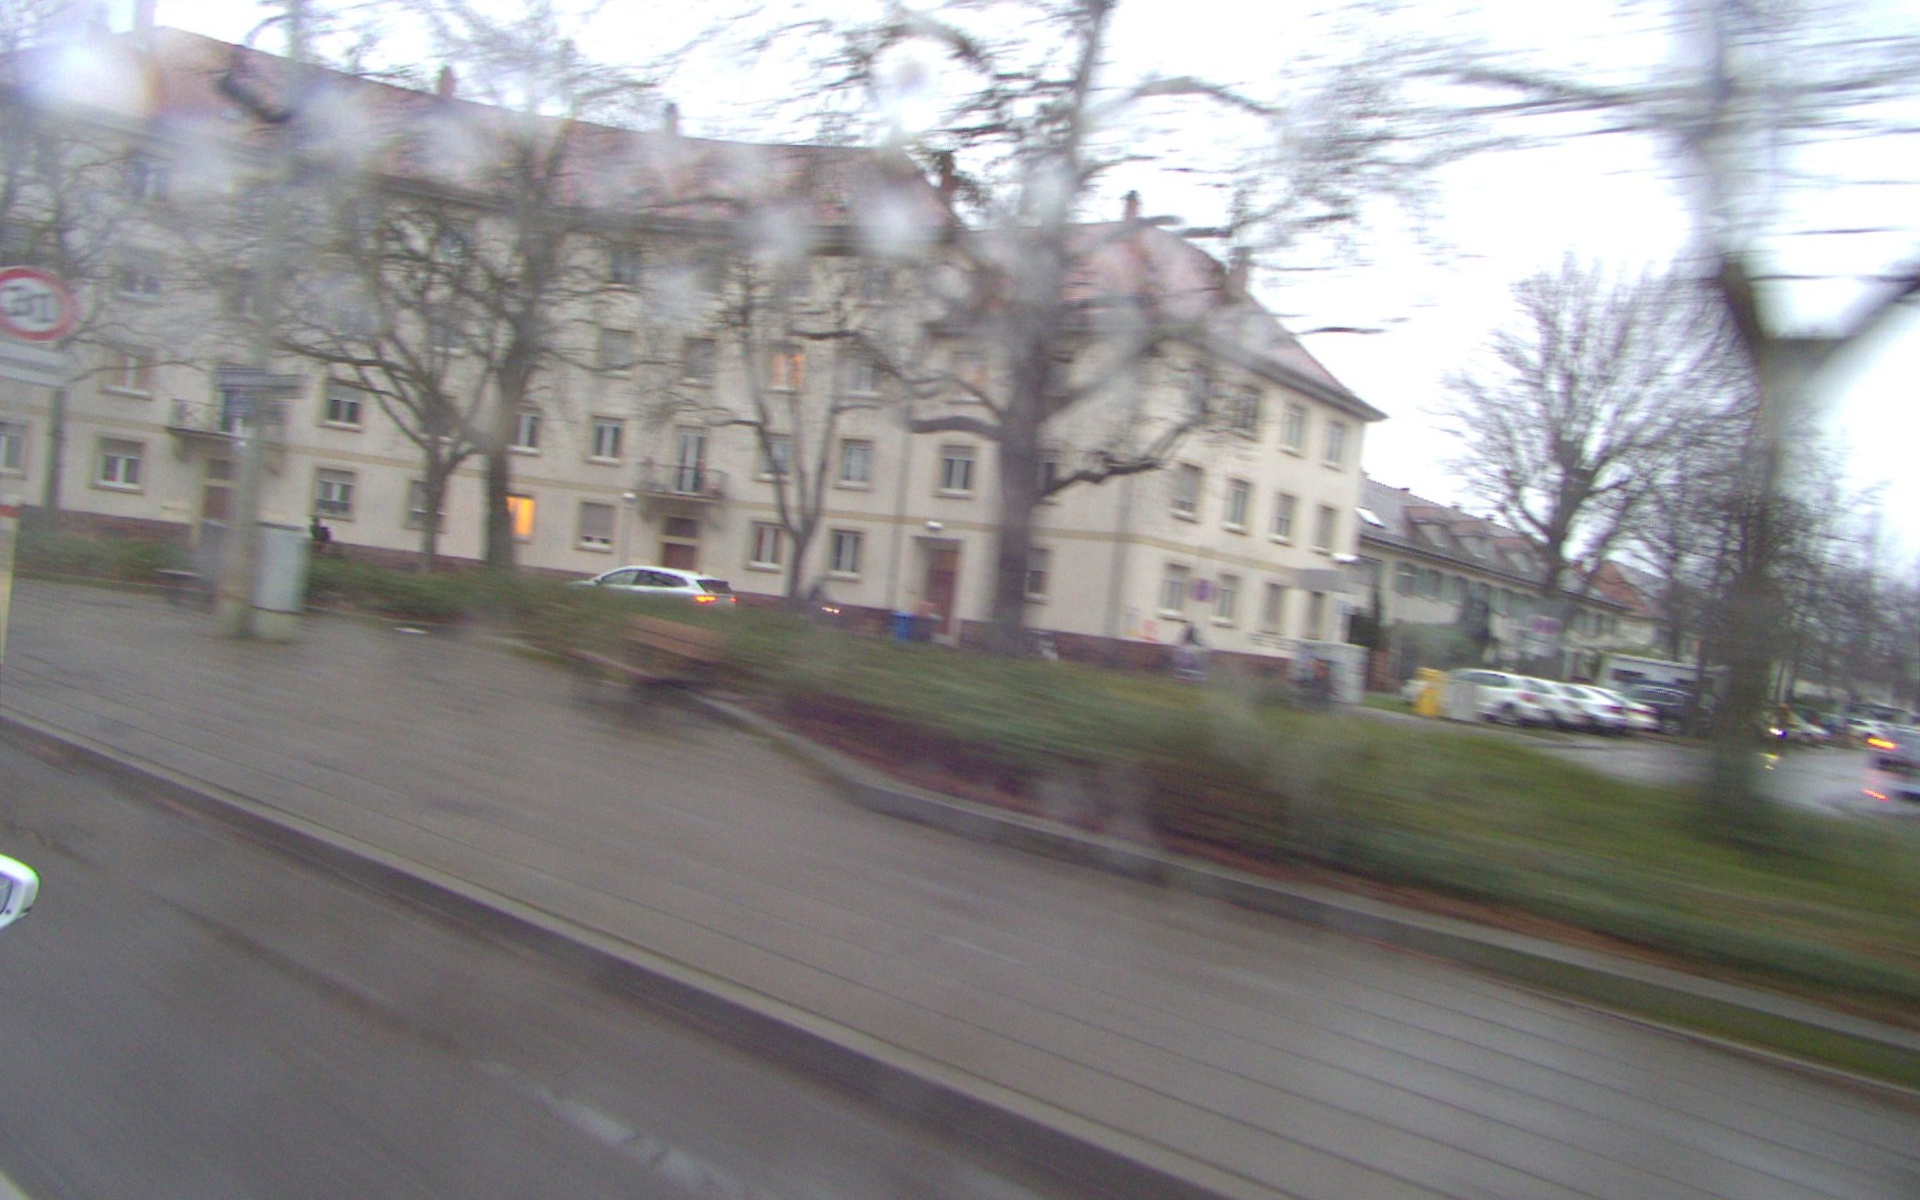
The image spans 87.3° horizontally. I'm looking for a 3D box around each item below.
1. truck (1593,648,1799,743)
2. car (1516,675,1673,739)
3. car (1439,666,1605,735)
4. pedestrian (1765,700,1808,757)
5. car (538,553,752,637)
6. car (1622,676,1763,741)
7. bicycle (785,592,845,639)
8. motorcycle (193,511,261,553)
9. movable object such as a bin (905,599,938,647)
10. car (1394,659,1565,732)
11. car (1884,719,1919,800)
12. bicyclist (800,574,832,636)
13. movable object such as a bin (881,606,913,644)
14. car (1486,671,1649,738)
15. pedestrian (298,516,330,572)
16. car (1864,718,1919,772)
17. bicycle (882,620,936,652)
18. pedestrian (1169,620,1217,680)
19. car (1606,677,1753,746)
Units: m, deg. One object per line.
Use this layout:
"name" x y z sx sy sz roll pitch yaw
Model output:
"truck" 32.110 4.105 44.134 2.614 3.131 6.654 6 1 -42
"car" 21.288 3.567 33.895 1.832 1.494 3.965 7 0 -32
"car" 17.258 3.066 31.046 1.832 1.494 3.965 7 0 -32
"pedestrian" 29.177 4.539 35.512 0.870 1.887 0.807 6 1 -34
"car" -7.707 -0.161 24.693 4.663 1.531 1.897 6 3 16
"car" 30.346 4.469 41.766 1.987 2.039 4.274 6 0 -43
"bicycle" -4.619 0.486 31.969 1.881 1.307 0.467 6 1 29
"motorcycle" -22.854 -2.114 31.393 1.575 1.120 0.568 7 3 -7
"movable object such as a bin" -1.069 0.639 27.795 0.638 1.244 0.528 6 1 17
"car" 15.120 2.760 29.478 1.832 1.504 3.965 7 0 -32
"car" 20.598 3.381 20.828 3.971 1.514 1.629 7 0 -41
"bicyclist" -4.586 0.159 31.981 0.668 1.910 0.467 7 1 29
"movable object such as a bin" -1.745 0.693 27.907 0.638 0.993 0.528 6 1 17
"car" 19.298 3.300 32.127 1.832 1.494 3.965 7 0 -32
"pedestrian" -20.342 -1.765 31.702 0.707 1.681 0.682 6 1 -33
"car" 32.331 5.012 34.032 3.973 1.496 1.950 10 -3 -40
"bicycle" -1.514 1.063 29.725 1.561 0.775 0.339 6 1 26
"pedestrian" 6.994 1.515 30.211 1.114 1.663 0.751 6 1 -41
"car" 27.019 4.159 37.889 1.832 1.957 3.965 7 0 -32
